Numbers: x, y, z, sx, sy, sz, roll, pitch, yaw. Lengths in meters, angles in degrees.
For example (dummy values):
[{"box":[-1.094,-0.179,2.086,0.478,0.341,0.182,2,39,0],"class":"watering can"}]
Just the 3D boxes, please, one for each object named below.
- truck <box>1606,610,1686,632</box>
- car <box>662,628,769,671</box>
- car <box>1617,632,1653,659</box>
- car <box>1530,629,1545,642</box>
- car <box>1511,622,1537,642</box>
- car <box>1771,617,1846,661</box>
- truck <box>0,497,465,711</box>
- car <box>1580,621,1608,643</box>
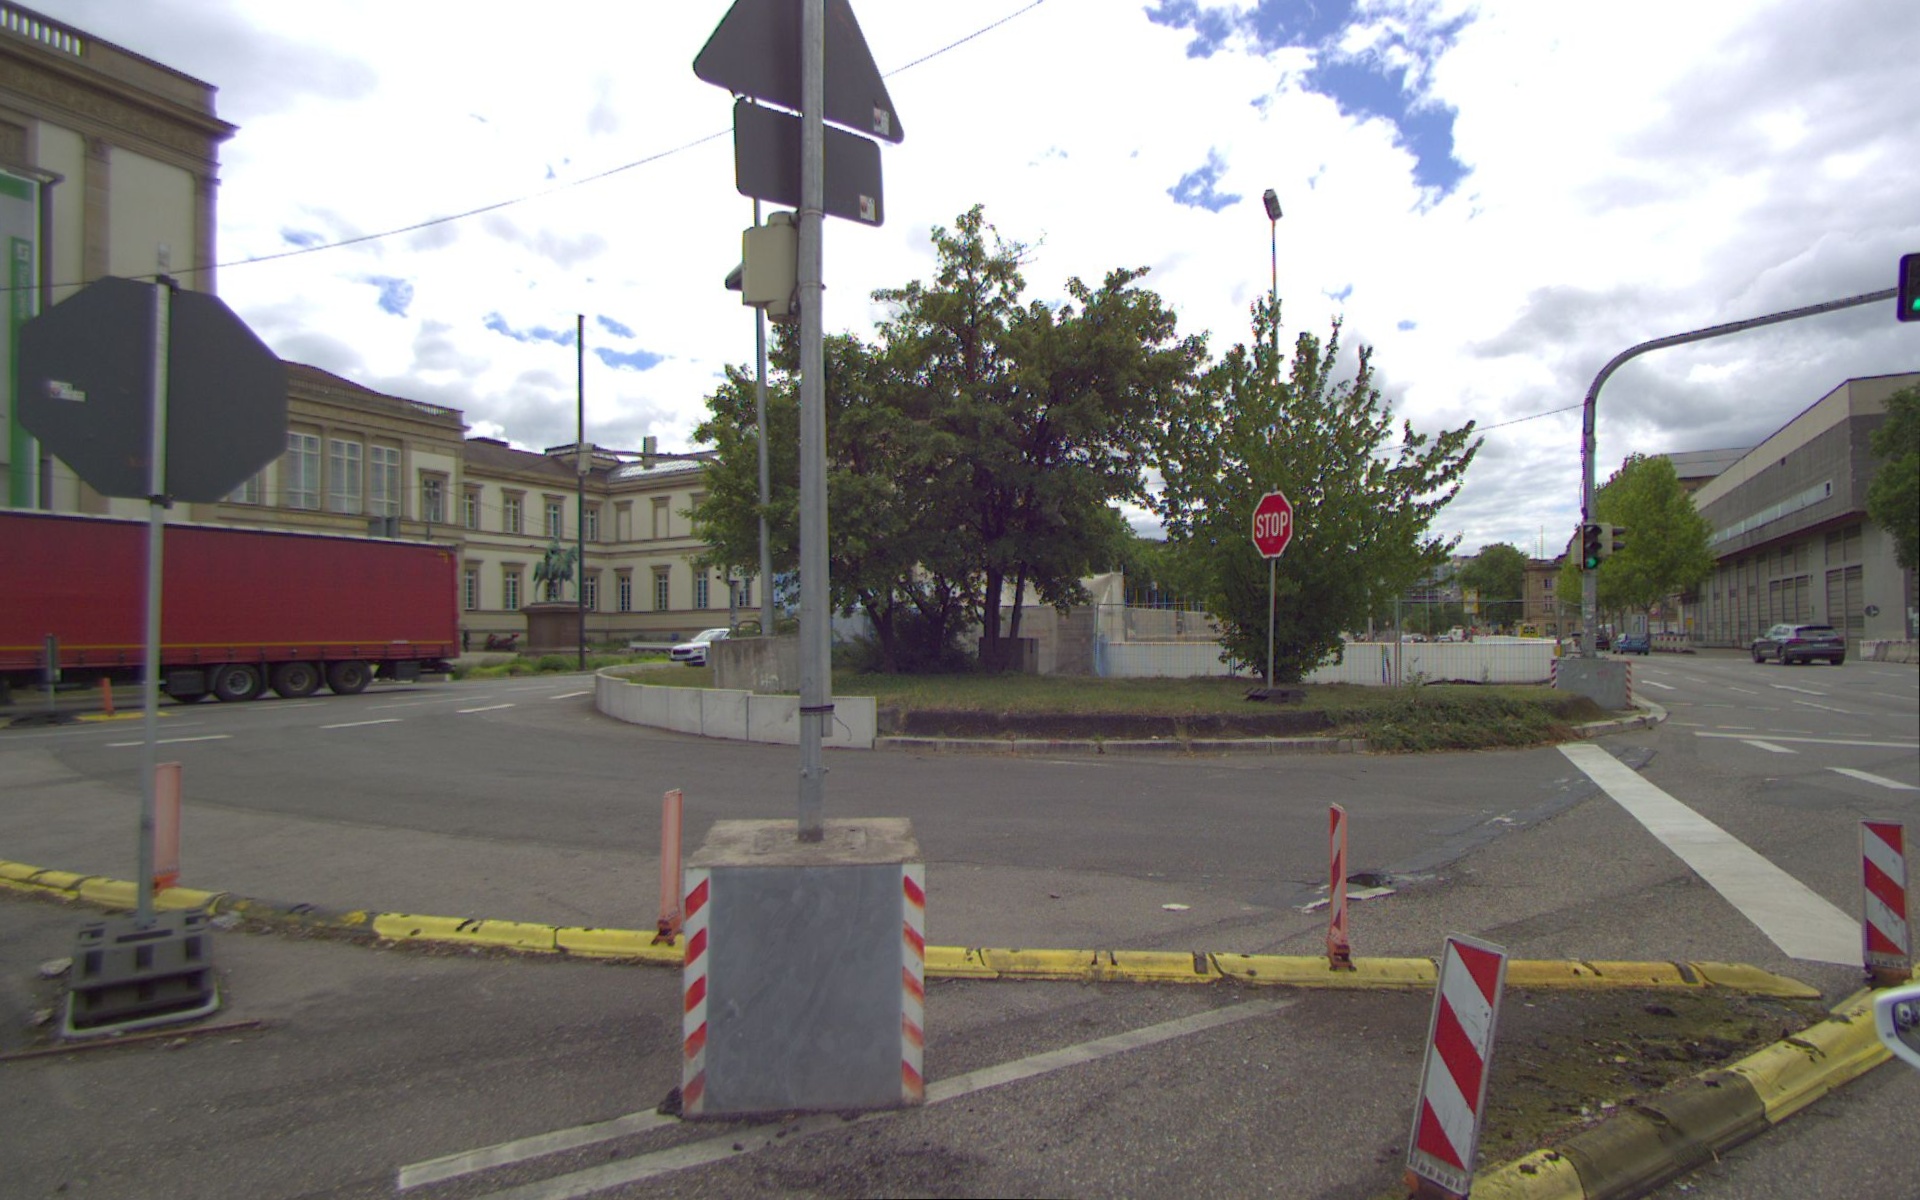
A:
[{"box":[105.726,3.313,155.051,9.879,3.090,2.566,-2,-3,28],"class":"truck"},{"box":[-9.500,1.888,39.389,1.686,1.557,4.133,0,-1,30],"class":"car"},{"box":[46.481,3.107,69.226,1.797,1.763,4.470,-2,-3,31],"class":"car"},{"box":[84.053,5.163,146.185,1.797,1.763,4.470,-2,-3,31],"class":"car"},{"box":[67.757,3.846,120.658,2.545,2.405,5.515,-2,-3,31],"class":"car"},{"box":[35.302,1.598,41.887,1.799,1.588,4.466,-5,-3,34],"class":"car"},{"box":[-19.087,0.154,21.592,2.874,4.136,16.590,-2,-2,28],"class":"truck"},{"box":[52.931,2.705,83.937,1.797,1.763,4.470,-2,-3,31],"class":"car"}]
